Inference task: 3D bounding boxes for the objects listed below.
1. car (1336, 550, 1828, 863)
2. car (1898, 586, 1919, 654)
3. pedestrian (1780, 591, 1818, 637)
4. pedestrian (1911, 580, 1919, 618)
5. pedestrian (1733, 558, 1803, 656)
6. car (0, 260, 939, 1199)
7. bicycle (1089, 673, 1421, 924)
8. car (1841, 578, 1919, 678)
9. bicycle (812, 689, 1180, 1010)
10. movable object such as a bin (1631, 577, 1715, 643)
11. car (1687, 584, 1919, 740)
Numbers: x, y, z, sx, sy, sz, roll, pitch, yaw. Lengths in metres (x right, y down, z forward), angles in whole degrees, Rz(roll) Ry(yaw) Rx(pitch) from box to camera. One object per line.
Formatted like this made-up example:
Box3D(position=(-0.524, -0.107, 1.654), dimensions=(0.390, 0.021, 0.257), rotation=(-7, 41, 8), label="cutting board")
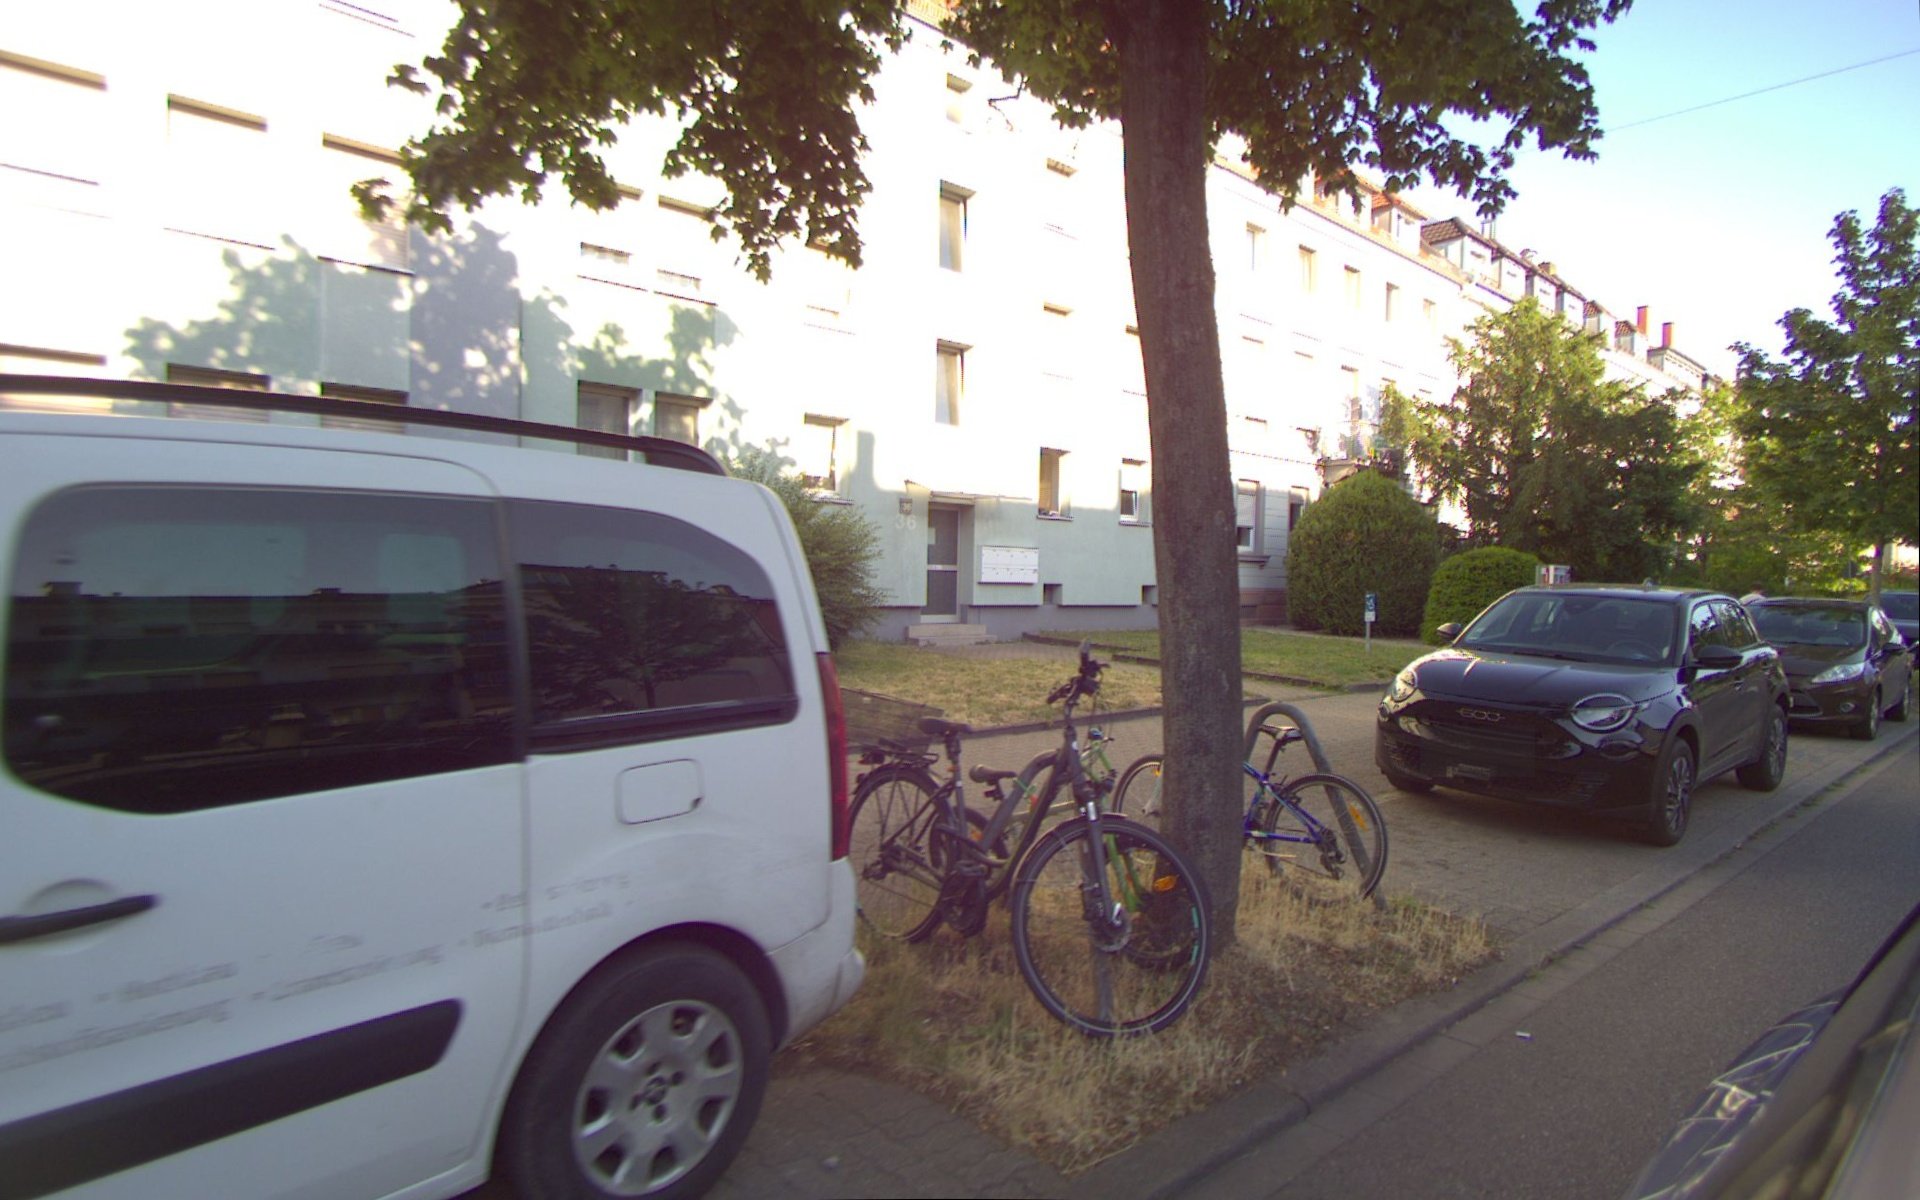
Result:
Box3D(position=(4.732, 0.533, 7.462), dimensions=(4.175, 1.683, 1.759), rotation=(0, 3, -39), label="car")
Box3D(position=(23.434, 0.458, 23.684), dimensions=(4.318, 1.512, 1.721), rotation=(0, 2, -42), label="car")
Box3D(position=(23.506, 0.372, 28.341), dimensions=(0.776, 1.250, 0.674), rotation=(-1, 1, -40), label="pedestrian")
Box3D(position=(43.705, -0.035, 46.085), dimensions=(0.518, 1.718, 0.511), rotation=(0, 1, -45), label="pedestrian")
Box3D(position=(14.512, 0.110, 18.185), dimensions=(0.792, 1.721, 0.790), rotation=(0, 1, -36), label="pedestrian")
Box3D(position=(-2.253, 0.416, 1.918), dimensions=(4.349, 1.831, 1.802), rotation=(0, 0, -43), label="car")
Box3D(position=(1.354, 0.876, 4.898), dimensions=(0.386, 0.880, 1.554), rotation=(0, 2, -43), label="bicycle")
Box3D(position=(17.199, 0.460, 18.009), dimensions=(4.024, 1.621, 1.722), rotation=(0, 2, -41), label="car")
Box3D(position=(0.074, 0.879, 3.986), dimensions=(1.551, 0.880, 0.387), rotation=(3, 2, 42), label="bicycle")
Box3D(position=(17.477, 0.229, 24.828), dimensions=(1.116, 1.510, 1.273), rotation=(1, 4, -30), label="movable object such as a bin")
Box3D(position=(10.116, 0.599, 11.927), dimensions=(3.890, 1.484, 1.616), rotation=(0, 3, -41), label="car")
